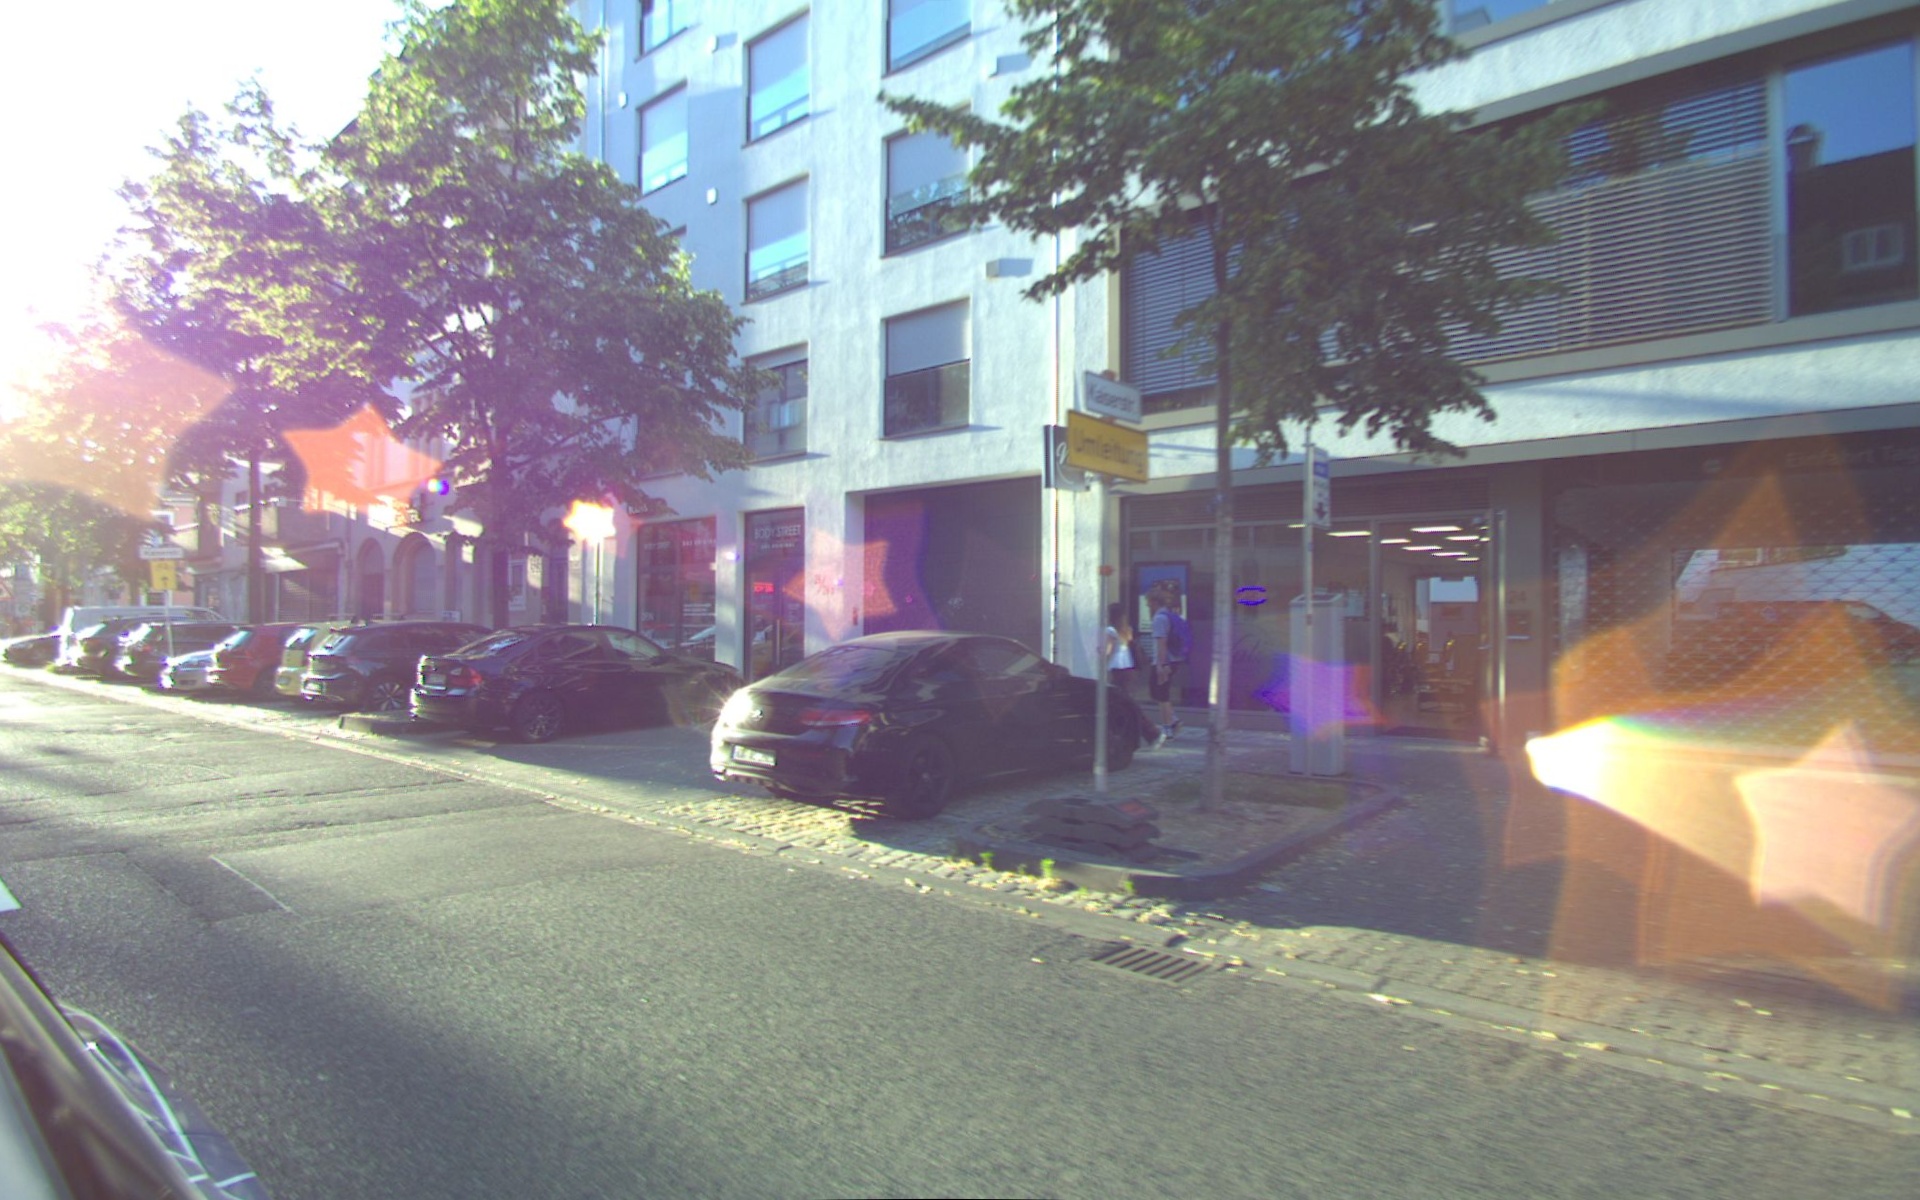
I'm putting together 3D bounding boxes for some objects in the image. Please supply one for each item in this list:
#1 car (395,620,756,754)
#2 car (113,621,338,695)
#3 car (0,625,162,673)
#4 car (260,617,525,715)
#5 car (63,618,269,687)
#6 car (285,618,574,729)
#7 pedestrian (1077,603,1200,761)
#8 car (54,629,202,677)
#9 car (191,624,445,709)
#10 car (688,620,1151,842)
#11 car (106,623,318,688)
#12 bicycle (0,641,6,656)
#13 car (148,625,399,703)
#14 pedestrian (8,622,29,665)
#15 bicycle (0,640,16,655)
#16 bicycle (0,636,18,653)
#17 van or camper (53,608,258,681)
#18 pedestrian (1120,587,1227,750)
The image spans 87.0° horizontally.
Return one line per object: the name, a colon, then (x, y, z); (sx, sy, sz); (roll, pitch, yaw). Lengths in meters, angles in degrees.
car: (-4.924, 1.019, 13.496); (1.742, 1.495, 4.233); (-1, -2, 38)
car: (-17.419, 1.305, 24.130); (4.135, 1.548, 1.745); (0, 0, -45)
car: (-31.308, 1.678, 35.939); (1.813, 1.536, 4.383); (-1, -1, 39)
car: (-10.162, 1.105, 18.355); (1.742, 1.579, 3.829); (-1, -2, 38)
car: (-21.270, 1.353, 27.236); (1.732, 1.681, 4.138); (-1, -1, 42)
car: (-8.534, 1.098, 16.557); (1.742, 1.579, 3.829); (-1, -2, 38)
pedestrian: (1.953, 0.857, 11.103); (1.094, 1.614, 0.712); (-1, 0, 41)
car: (-26.878, 1.665, 32.763); (1.512, 1.424, 3.535); (-1, -1, 42)
car: (-12.381, 1.218, 19.723); (1.742, 1.468, 3.829); (-1, -2, 38)
car: (-0.127, 0.933, 9.054); (1.743, 1.495, 4.230); (-1, -2, 40)
car: (-19.198, 1.369, 26.113); (1.731, 1.453, 4.140); (0, 0, 40)
bicycle: (-49.743, 2.479, 51.458); (1.770, 0.771, 0.408); (1, -2, -37)
car: (-14.197, 1.261, 21.123); (1.741, 1.397, 4.003); (-2, -1, 37)
pedestrian: (-37.180, 1.701, 39.956); (0.721, 1.660, 0.543); (-2, -2, 43)
bicycle: (-50.236, 2.483, 52.520); (1.770, 0.771, 0.408); (1, -2, -37)
bicycle: (-51.074, 2.355, 53.570); (0.441, 0.870, 1.790); (-1, -2, 16)
van or camper: (-23.257, 1.247, 29.375); (1.789, 1.971, 4.411); (-2, -2, 42)
pedestrian: (2.444, 0.749, 11.608); (0.933, 1.762, 0.712); (-1, 0, 41)
